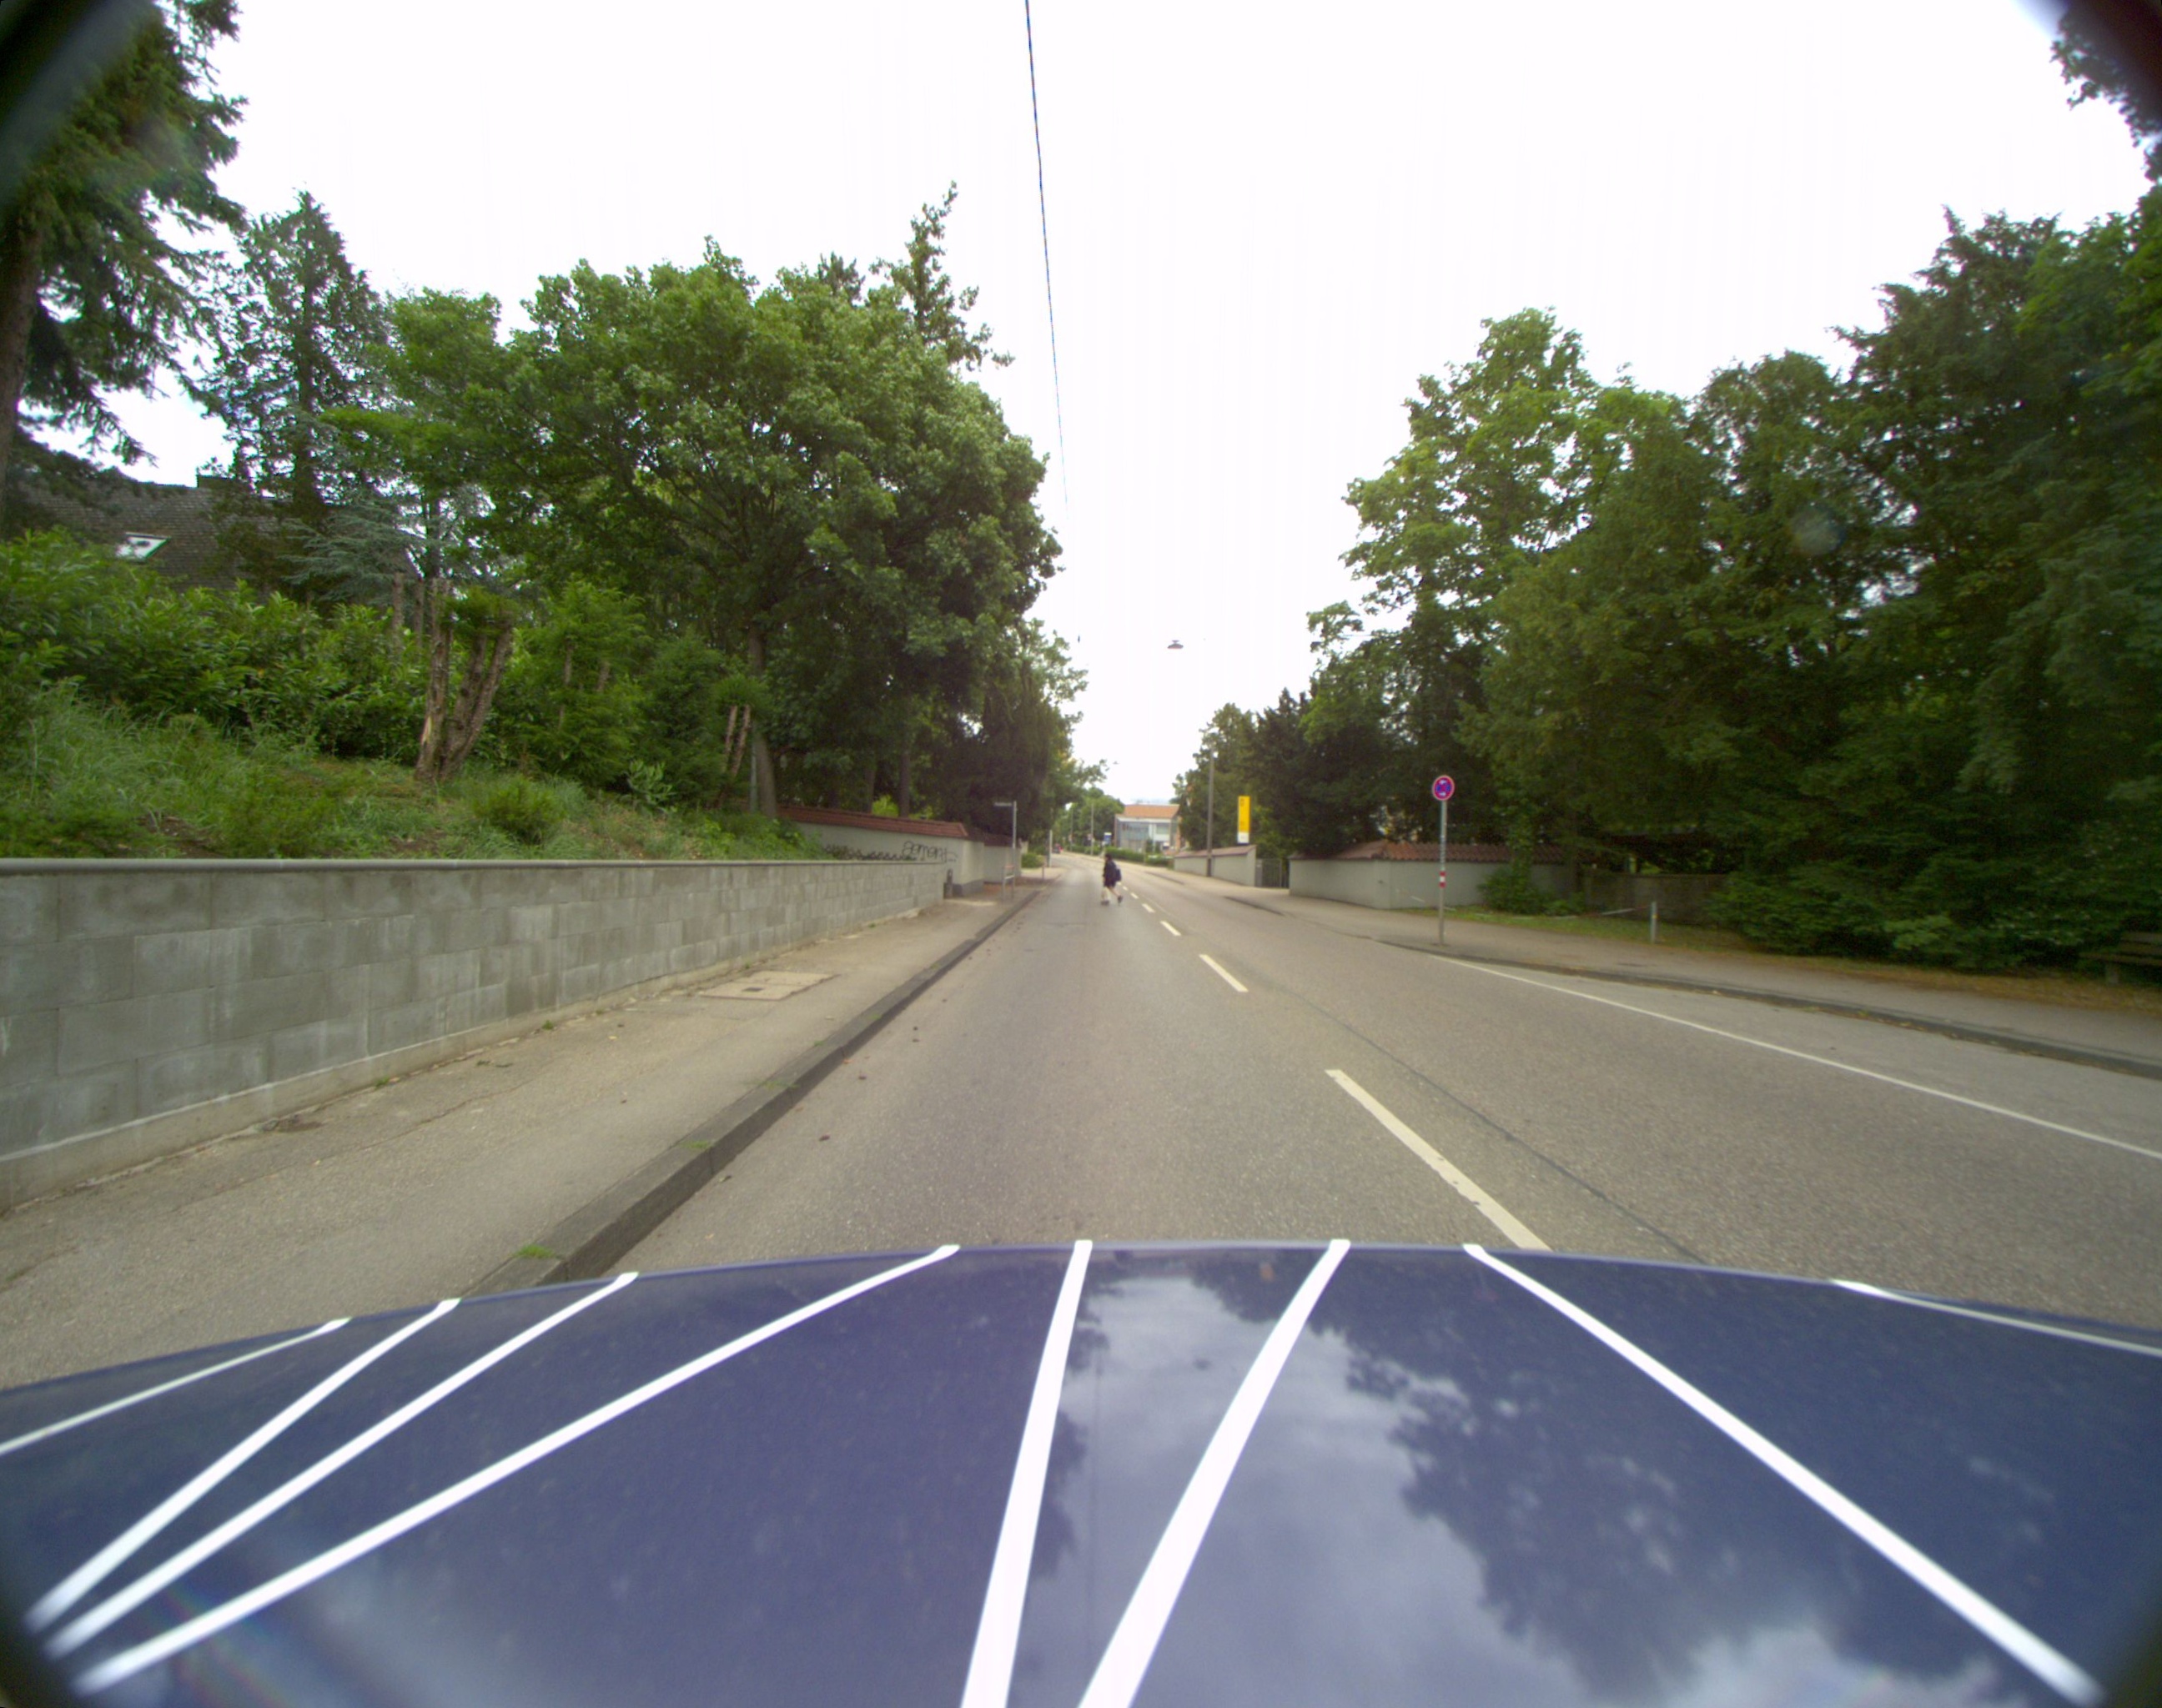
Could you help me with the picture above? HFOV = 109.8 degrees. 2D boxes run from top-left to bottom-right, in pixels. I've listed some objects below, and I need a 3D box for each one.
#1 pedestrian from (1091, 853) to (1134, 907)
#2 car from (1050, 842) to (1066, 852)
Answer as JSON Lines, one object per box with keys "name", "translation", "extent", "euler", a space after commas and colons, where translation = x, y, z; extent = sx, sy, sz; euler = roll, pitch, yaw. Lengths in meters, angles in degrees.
{"name": "pedestrian", "translation": [0.956, 0.755, 22.891], "extent": [0.900, 1.552, 0.930], "euler": [1, 2, 40]}
{"name": "car", "translation": [-4.549, -1.361, 149.798], "extent": [1.898, 1.845, 5.075], "euler": [4, 0, -15]}
